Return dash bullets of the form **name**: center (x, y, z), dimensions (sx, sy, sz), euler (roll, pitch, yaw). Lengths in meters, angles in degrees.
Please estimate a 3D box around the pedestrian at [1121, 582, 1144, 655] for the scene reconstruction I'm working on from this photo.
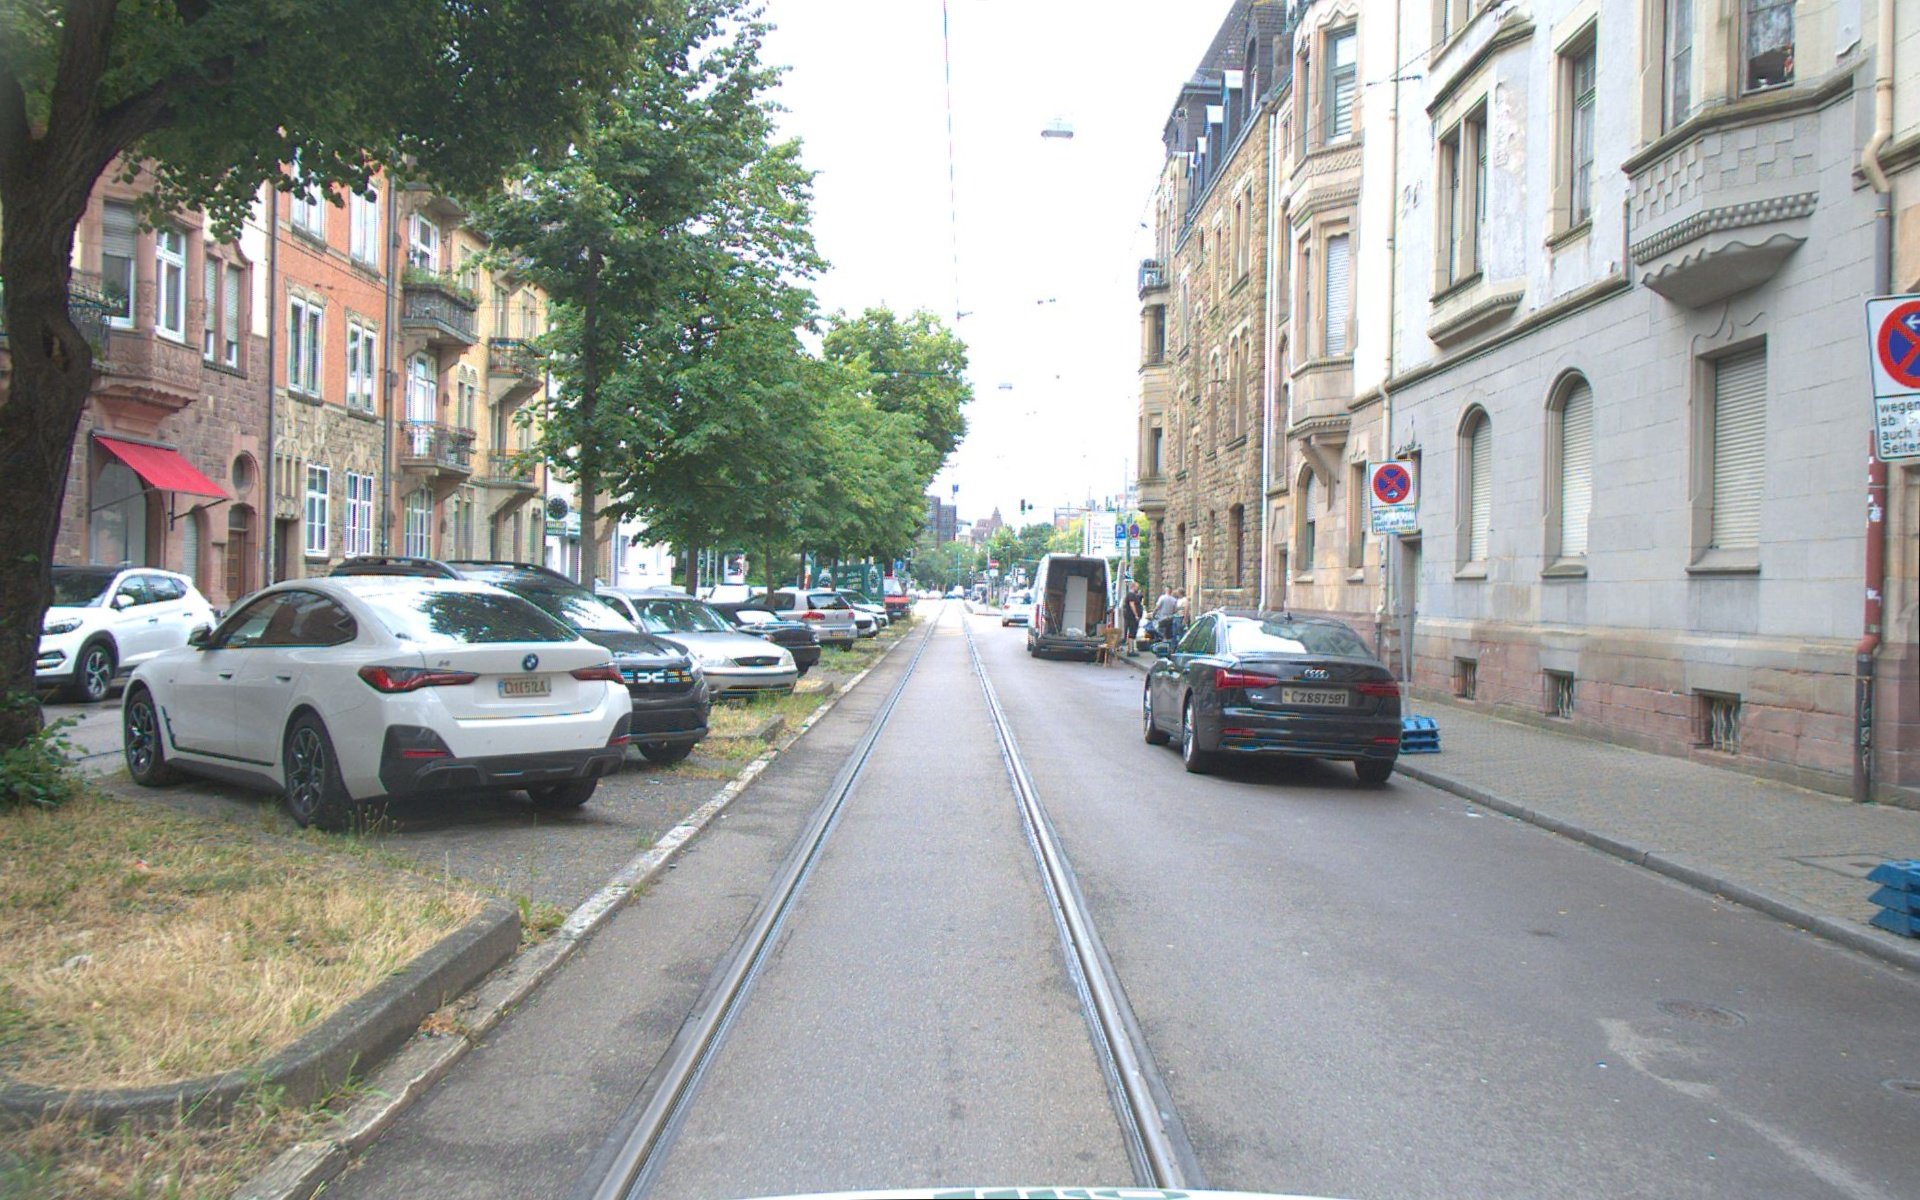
- **pedestrian**: center (4.403, 0.464, 42.330), dimensions (0.488, 1.847, 0.803), euler (-1, 0, 1)

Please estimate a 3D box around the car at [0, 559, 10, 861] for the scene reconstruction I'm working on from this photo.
- **car**: center (-3.900, 0.510, 3.894), dimensions (4.061, 1.335, 1.850), euler (2, 0, 45)

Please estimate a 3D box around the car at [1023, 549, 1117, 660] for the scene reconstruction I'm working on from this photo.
- **car**: center (2.794, 0.096, 43.504), dimensions (1.972, 2.593, 7.017), euler (3, 0, 1)

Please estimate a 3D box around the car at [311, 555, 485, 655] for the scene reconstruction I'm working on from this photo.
- **car**: center (-11.144, 0.100, 33.201), dimensions (1.777, 1.813, 5.116), euler (1, 0, -1)

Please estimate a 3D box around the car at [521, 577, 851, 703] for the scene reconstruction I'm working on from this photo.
- **car**: center (-3.613, 0.446, 21.266), dimensions (4.586, 1.392, 1.747), euler (2, 0, 43)

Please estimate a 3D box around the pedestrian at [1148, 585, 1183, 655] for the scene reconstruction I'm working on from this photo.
- **pedestrian**: center (5.170, 0.493, 41.593), dimensions (0.694, 1.729, 0.488), euler (-1, 0, -28)

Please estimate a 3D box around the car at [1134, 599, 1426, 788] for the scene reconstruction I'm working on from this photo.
- **car**: center (2.908, 0.769, 16.204), dimensions (1.764, 1.463, 5.195), euler (2, 0, -1)

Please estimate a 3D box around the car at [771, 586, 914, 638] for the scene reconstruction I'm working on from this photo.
- **car**: center (-3.592, 0.349, 50.096), dimensions (4.263, 1.460, 1.887), euler (2, 0, 42)

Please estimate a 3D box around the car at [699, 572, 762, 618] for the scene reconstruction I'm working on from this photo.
- **car**: center (-8.547, -0.167, 61.868), dimensions (1.768, 1.607, 4.546), euler (1, 0, -1)

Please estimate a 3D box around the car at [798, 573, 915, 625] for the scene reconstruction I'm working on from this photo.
- **car**: center (-4.255, -0.043, 67.482), dimensions (4.677, 2.009, 1.950), euler (1, 0, 38)

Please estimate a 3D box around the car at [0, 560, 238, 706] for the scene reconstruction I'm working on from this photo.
- **car**: center (-11.142, 0.375, 21.307), dimensions (1.705, 1.655, 4.553), euler (1, 0, -1)

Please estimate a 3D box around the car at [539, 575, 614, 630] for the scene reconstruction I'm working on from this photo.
- **car**: center (-11.542, 0.064, 49.952), dimensions (1.601, 1.577, 2.950), euler (1, 0, -2)

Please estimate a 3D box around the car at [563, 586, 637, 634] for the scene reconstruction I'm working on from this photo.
- **car**: center (-11.674, 0.301, 53.833), dimensions (1.601, 1.468, 3.922), euler (1, 0, -2)

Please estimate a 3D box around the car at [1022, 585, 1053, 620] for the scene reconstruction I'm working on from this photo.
- **car**: center (4.593, 0.146, 98.458), dimensions (1.745, 1.997, 4.383), euler (1, 0, 1)

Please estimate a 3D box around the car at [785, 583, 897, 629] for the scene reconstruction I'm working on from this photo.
- **car**: center (-4.092, 0.190, 56.515), dimensions (3.795, 1.488, 1.679), euler (2, 0, 42)

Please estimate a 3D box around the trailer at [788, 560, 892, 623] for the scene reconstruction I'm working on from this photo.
- **trailer**: center (-4.672, -0.334, 64.483), dimensions (3.594, 2.385, 1.926), euler (1, 0, 33)

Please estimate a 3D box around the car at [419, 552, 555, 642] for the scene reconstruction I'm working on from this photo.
- **car**: center (-11.274, -0.062, 39.803), dimensions (1.843, 1.986, 5.093), euler (1, 0, -1)

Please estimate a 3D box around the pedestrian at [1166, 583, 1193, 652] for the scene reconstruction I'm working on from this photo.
- **pedestrian**: center (5.636, 0.454, 42.429), dimensions (0.498, 1.747, 0.580), euler (-1, 0, -10)

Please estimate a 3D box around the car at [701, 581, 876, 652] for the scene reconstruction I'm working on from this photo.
- **car**: center (-4.035, 0.368, 38.634), dimensions (4.043, 1.510, 1.787), euler (2, 0, 41)

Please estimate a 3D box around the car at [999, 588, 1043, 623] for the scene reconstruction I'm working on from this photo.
- **car**: center (2.736, 0.226, 74.005), dimensions (1.745, 1.498, 4.012), euler (1, 0, 5)

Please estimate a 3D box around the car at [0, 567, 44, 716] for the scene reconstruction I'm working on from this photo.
- **car**: center (-11.039, 0.425, 16.603), dimensions (1.628, 1.587, 3.721), euler (1, 0, -1)

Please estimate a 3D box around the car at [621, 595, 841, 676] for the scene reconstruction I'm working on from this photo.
- **car**: center (-3.965, 0.572, 28.260), dimensions (3.895, 1.223, 1.657), euler (2, 0, 44)

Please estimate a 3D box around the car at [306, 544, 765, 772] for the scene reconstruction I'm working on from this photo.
- **car**: center (-3.780, 0.401, 14.252), dimensions (4.456, 1.661, 1.753), euler (1, 0, 44)

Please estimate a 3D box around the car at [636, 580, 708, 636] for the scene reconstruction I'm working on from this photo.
- **car**: center (-8.299, 0.227, 47.833), dimensions (1.571, 1.541, 2.892), euler (1, 0, -1)

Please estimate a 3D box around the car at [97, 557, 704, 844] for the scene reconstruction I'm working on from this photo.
- **car**: center (-3.889, 0.516, 11.061), dimensions (4.465, 1.516, 2.022), euler (1, 0, 44)

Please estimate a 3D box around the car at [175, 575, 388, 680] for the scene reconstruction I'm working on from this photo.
- **car**: center (-11.168, 0.426, 27.603), dimensions (1.705, 1.569, 4.553), euler (1, 0, -1)

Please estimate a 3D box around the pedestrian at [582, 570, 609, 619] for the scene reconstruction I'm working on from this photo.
- **pedestrian**: center (-13.701, -0.210, 62.163), dimensions (0.781, 1.797, 0.900), euler (1, 0, -1)

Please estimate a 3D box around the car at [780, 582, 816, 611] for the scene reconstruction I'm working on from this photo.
- **car**: center (-8.718, -0.187, 89.324), dimensions (1.610, 1.530, 3.882), euler (1, 0, -1)

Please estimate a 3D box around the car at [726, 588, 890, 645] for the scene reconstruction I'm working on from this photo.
- **car**: center (-4.296, 0.440, 46.383), dimensions (4.600, 1.460, 1.889), euler (2, 0, 39)
